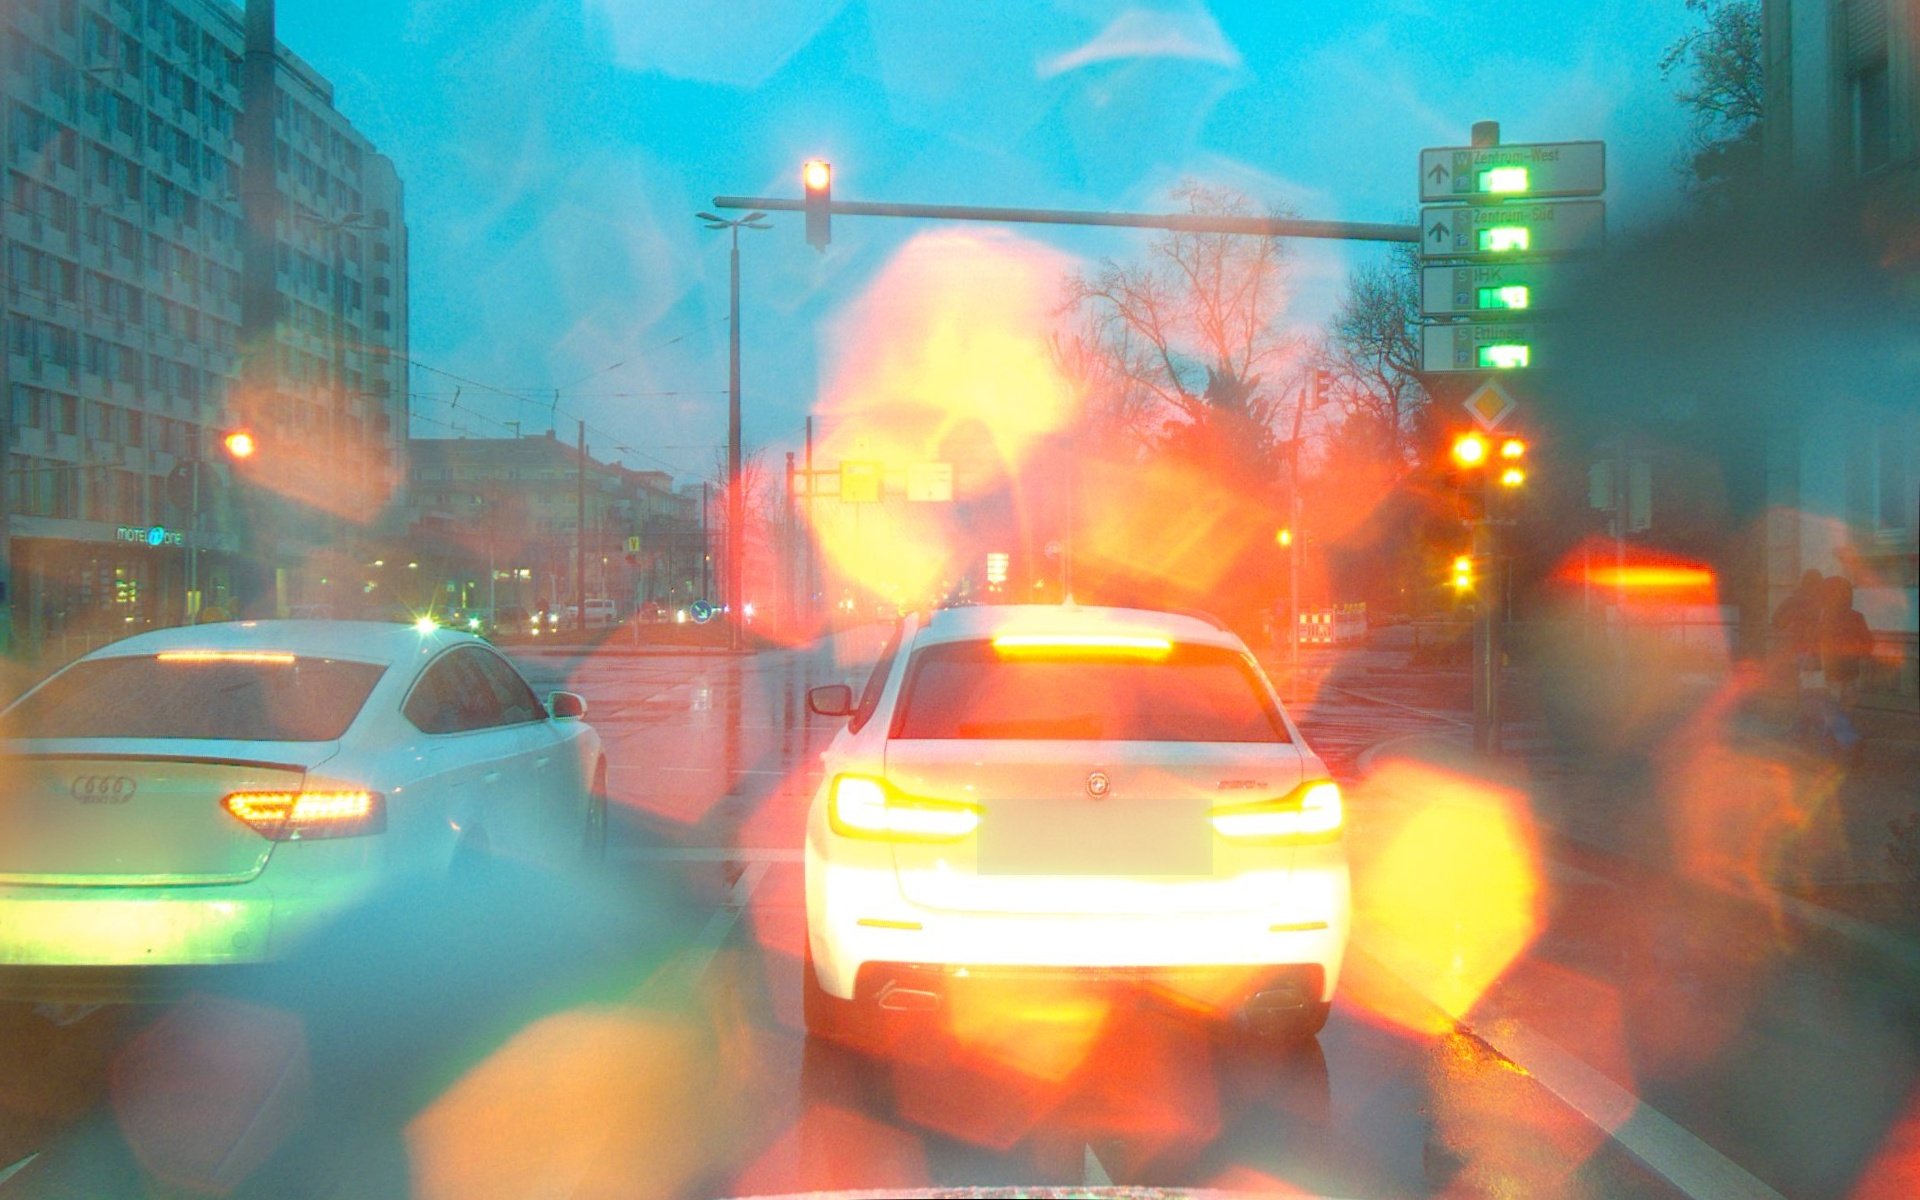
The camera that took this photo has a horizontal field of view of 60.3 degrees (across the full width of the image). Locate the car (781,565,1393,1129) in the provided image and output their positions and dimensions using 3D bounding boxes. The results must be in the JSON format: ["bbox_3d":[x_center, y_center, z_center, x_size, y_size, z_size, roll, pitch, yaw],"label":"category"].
[{"bbox_3d":[0.265,0.714,6.815,1.724,1.580,4.249,1,0,-3],"label":"car"}]

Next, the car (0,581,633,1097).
[{"bbox_3d":[-2.572,0.707,6.944,1.724,1.495,4.249,1,0,-3],"label":"car"}]

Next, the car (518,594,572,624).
[{"bbox_3d":[-22.065,0.481,88.128,1.954,1.487,5.090,1,0,-5],"label":"car"}]

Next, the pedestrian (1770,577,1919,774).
[{"bbox_3d":[7.528,0.621,14.106,0.765,1.607,1.011,1,0,2],"label":"pedestrian"}]

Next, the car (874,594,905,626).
[{"bbox_3d":[-4.663,0.667,109.765,1.953,2.049,3.999,1,0,-1],"label":"car"}]

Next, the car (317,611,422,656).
[{"bbox_3d":[-21.017,1.151,59.058,1.953,1.487,5.094,1,0,-1],"label":"car"}]

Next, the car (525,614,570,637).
[{"bbox_3d":[-27.573,1.679,110.760,1.954,1.487,5.092,1,0,-3],"label":"car"}]

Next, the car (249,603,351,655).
[{"bbox_3d":[-24.112,1.031,60.607,1.843,1.821,4.598,1,0,0],"label":"car"}]

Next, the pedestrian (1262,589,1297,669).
[{"bbox_3d":[7.727,0.704,39.989,0.659,1.912,0.714,1,-1,-3],"label":"pedestrian"}]

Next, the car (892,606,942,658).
[{"bbox_3d":[-1.731,1.271,67.663,1.953,2.049,3.999,1,0,-1],"label":"car"}]

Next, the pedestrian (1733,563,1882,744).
[{"bbox_3d":[8.102,0.497,15.839,0.771,1.661,1.003,1,-1,-24],"label":"pedestrian"}]

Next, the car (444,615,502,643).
[{"bbox_3d":[-27.582,1.604,93.875,1.954,1.487,5.092,1,0,-3],"label":"car"}]
